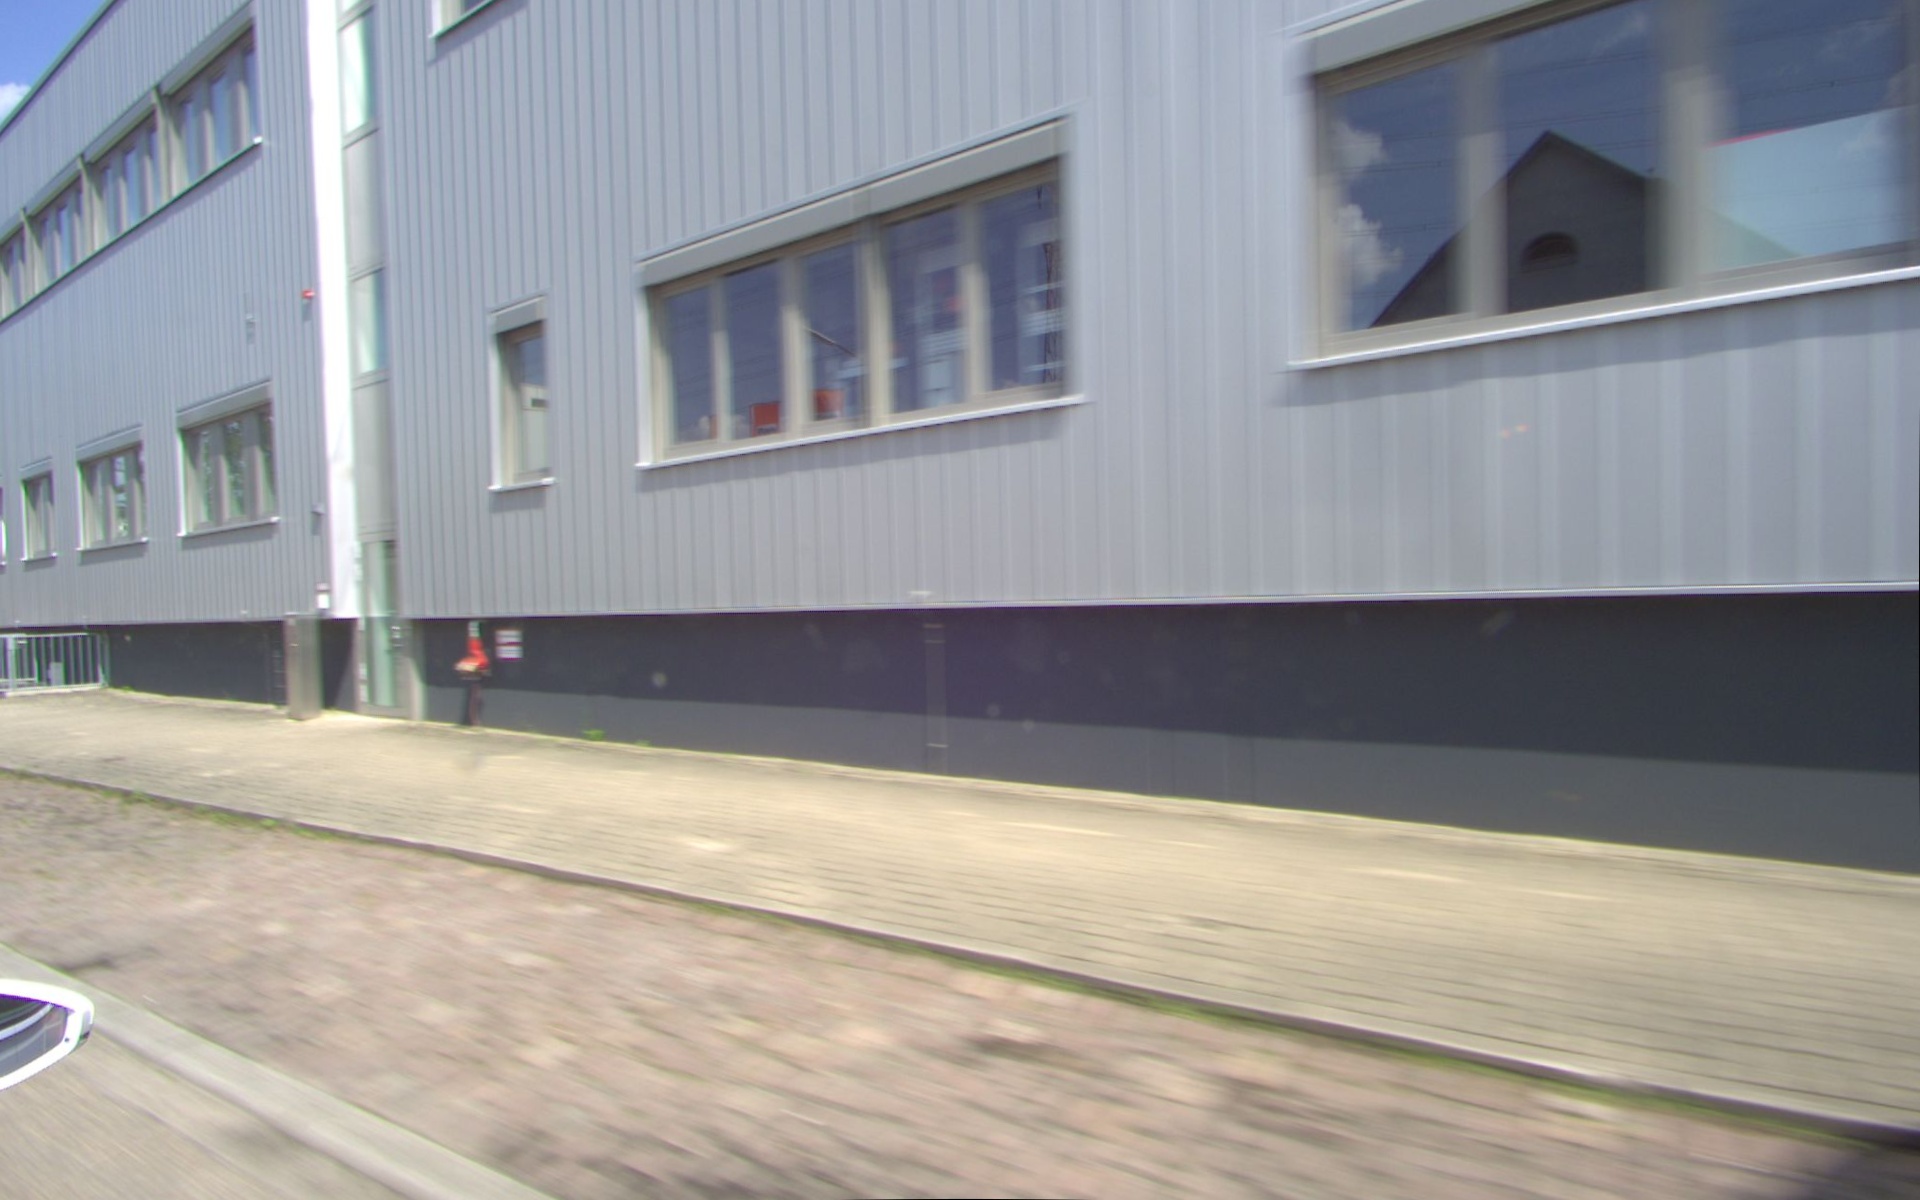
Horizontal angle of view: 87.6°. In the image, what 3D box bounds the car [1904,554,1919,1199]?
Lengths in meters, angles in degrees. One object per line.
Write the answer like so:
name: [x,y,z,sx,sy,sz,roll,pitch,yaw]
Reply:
car: [3.535,0.597,0.575,4.056,1.530,1.707,-1,-2,32]
